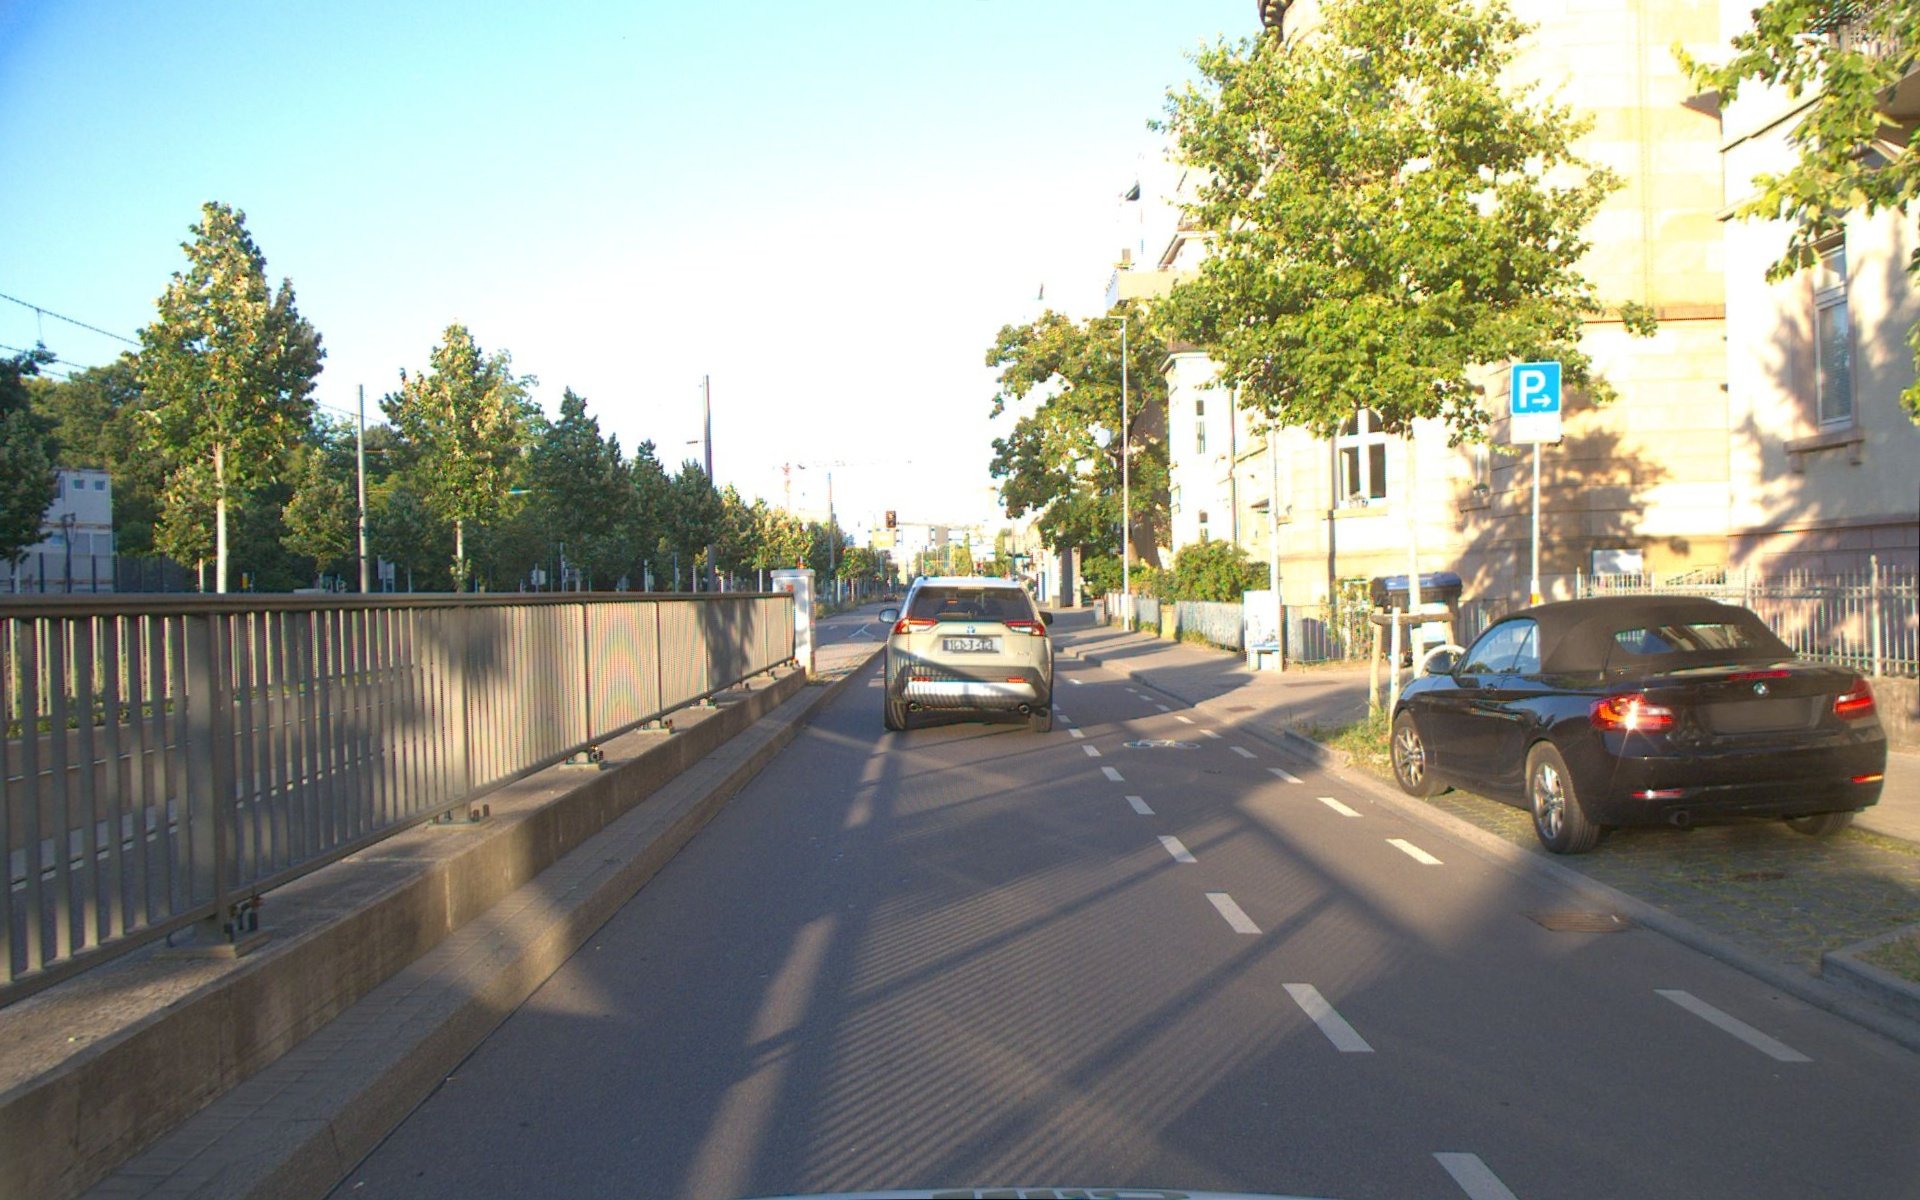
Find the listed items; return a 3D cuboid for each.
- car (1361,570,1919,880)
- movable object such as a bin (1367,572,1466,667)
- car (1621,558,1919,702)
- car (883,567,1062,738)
[{"bbox_3d":[4.221,0.637,10.931,1.757,1.496,4.442,-4,1,-3],"label":"car"},{"bbox_3d":[7.371,0.306,26.760,1.235,1.487,1.123,-1,0,-4],"label":"movable object such as a bin"},{"bbox_3d":[10.718,0.330,20.675,4.108,1.598,1.917,-2,0,2],"label":"car"},{"bbox_3d":[0.054,0.536,19.072,1.820,1.744,4.190,0,0,-2],"label":"car"}]
